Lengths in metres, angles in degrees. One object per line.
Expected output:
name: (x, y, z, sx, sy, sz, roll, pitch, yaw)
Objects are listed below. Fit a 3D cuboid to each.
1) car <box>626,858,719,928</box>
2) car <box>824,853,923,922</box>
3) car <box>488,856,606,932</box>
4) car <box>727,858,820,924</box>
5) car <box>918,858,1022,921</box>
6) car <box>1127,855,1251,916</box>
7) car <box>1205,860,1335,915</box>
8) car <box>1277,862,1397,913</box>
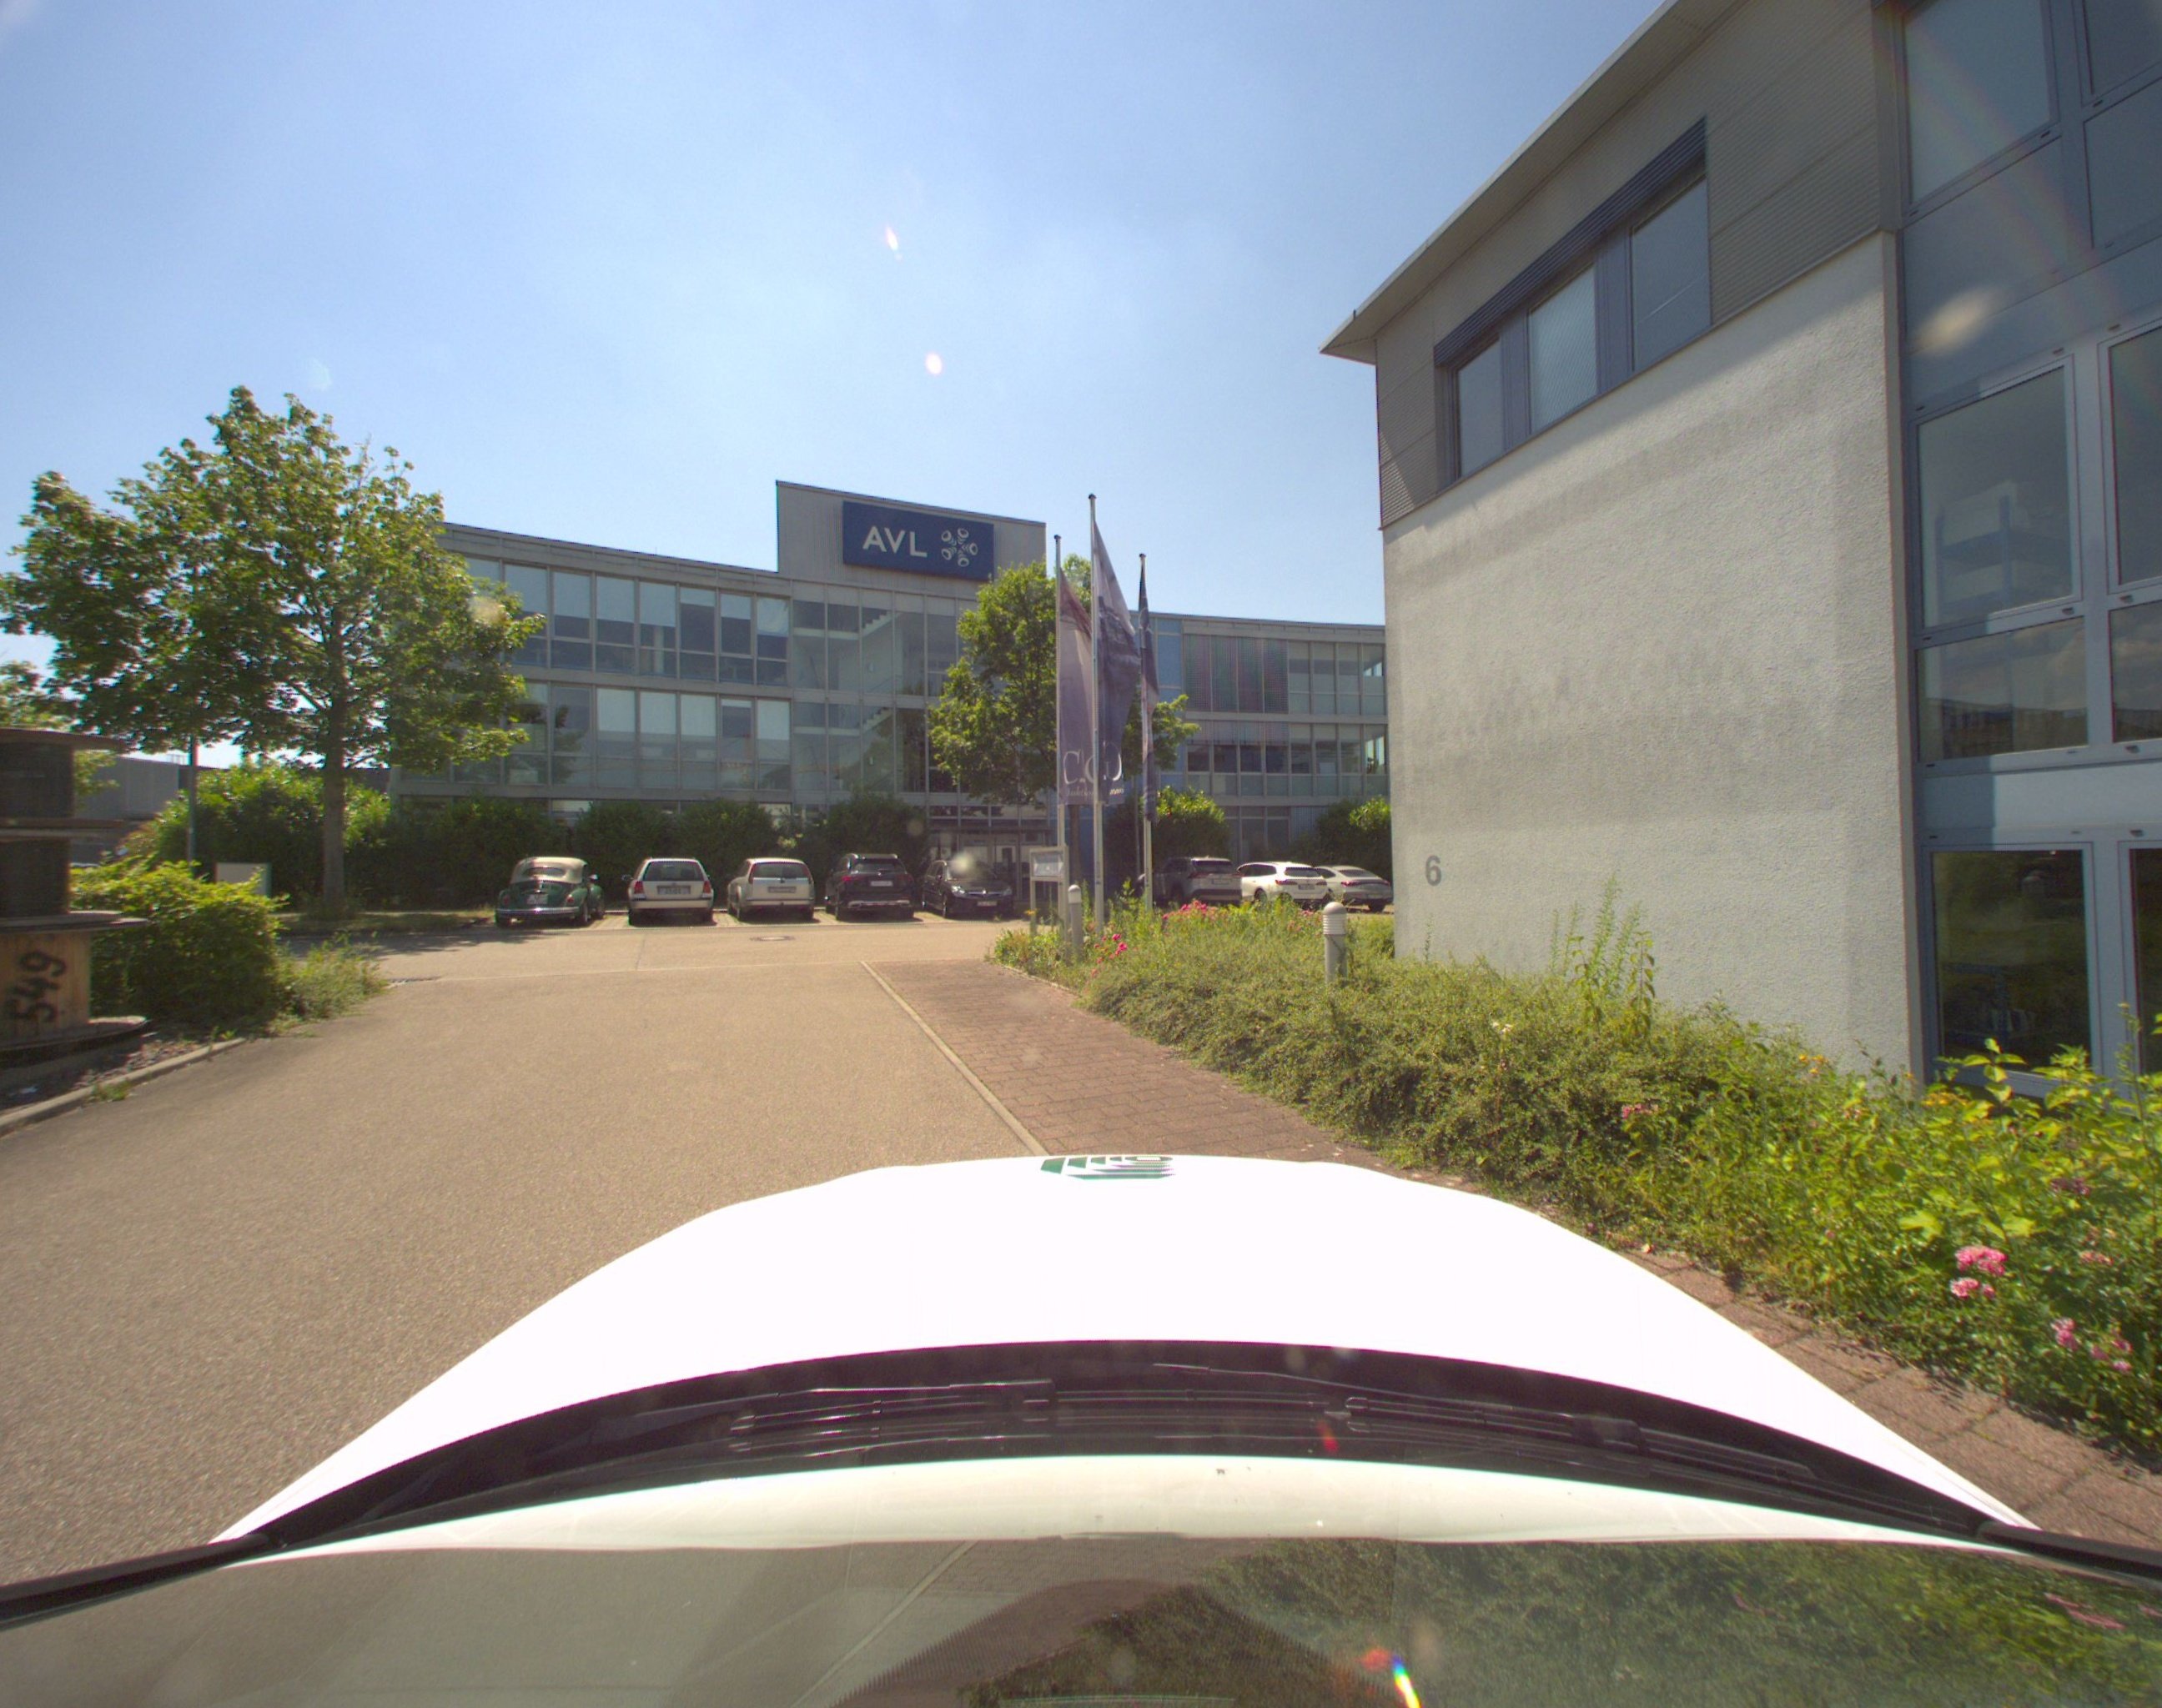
car: (-9.563, 0.838, 19.079, 1.741, 1.449, 3.621, 1, 0, -27)
car: (-5.499, 0.796, 21.265, 1.935, 1.611, 3.956, 1, 0, -23)
car: (-11.612, 0.799, 17.931, 1.548, 1.449, 3.625, 1, 0, -23)
car: (-7.806, 0.860, 20.484, 1.775, 1.449, 3.621, 1, 0, -27)
car: (-3.136, 0.885, 22.233, 1.777, 1.482, 4.226, 0, 0, -23)
car: (3.151, 0.870, 24.702, 1.827, 1.619, 4.306, 0, 0, -23)
car: (5.743, 0.977, 25.347, 1.743, 1.492, 4.306, 1, 0, -23)
car: (8.151, 1.026, 26.335, 1.738, 1.429, 4.320, 1, 0, -13)
